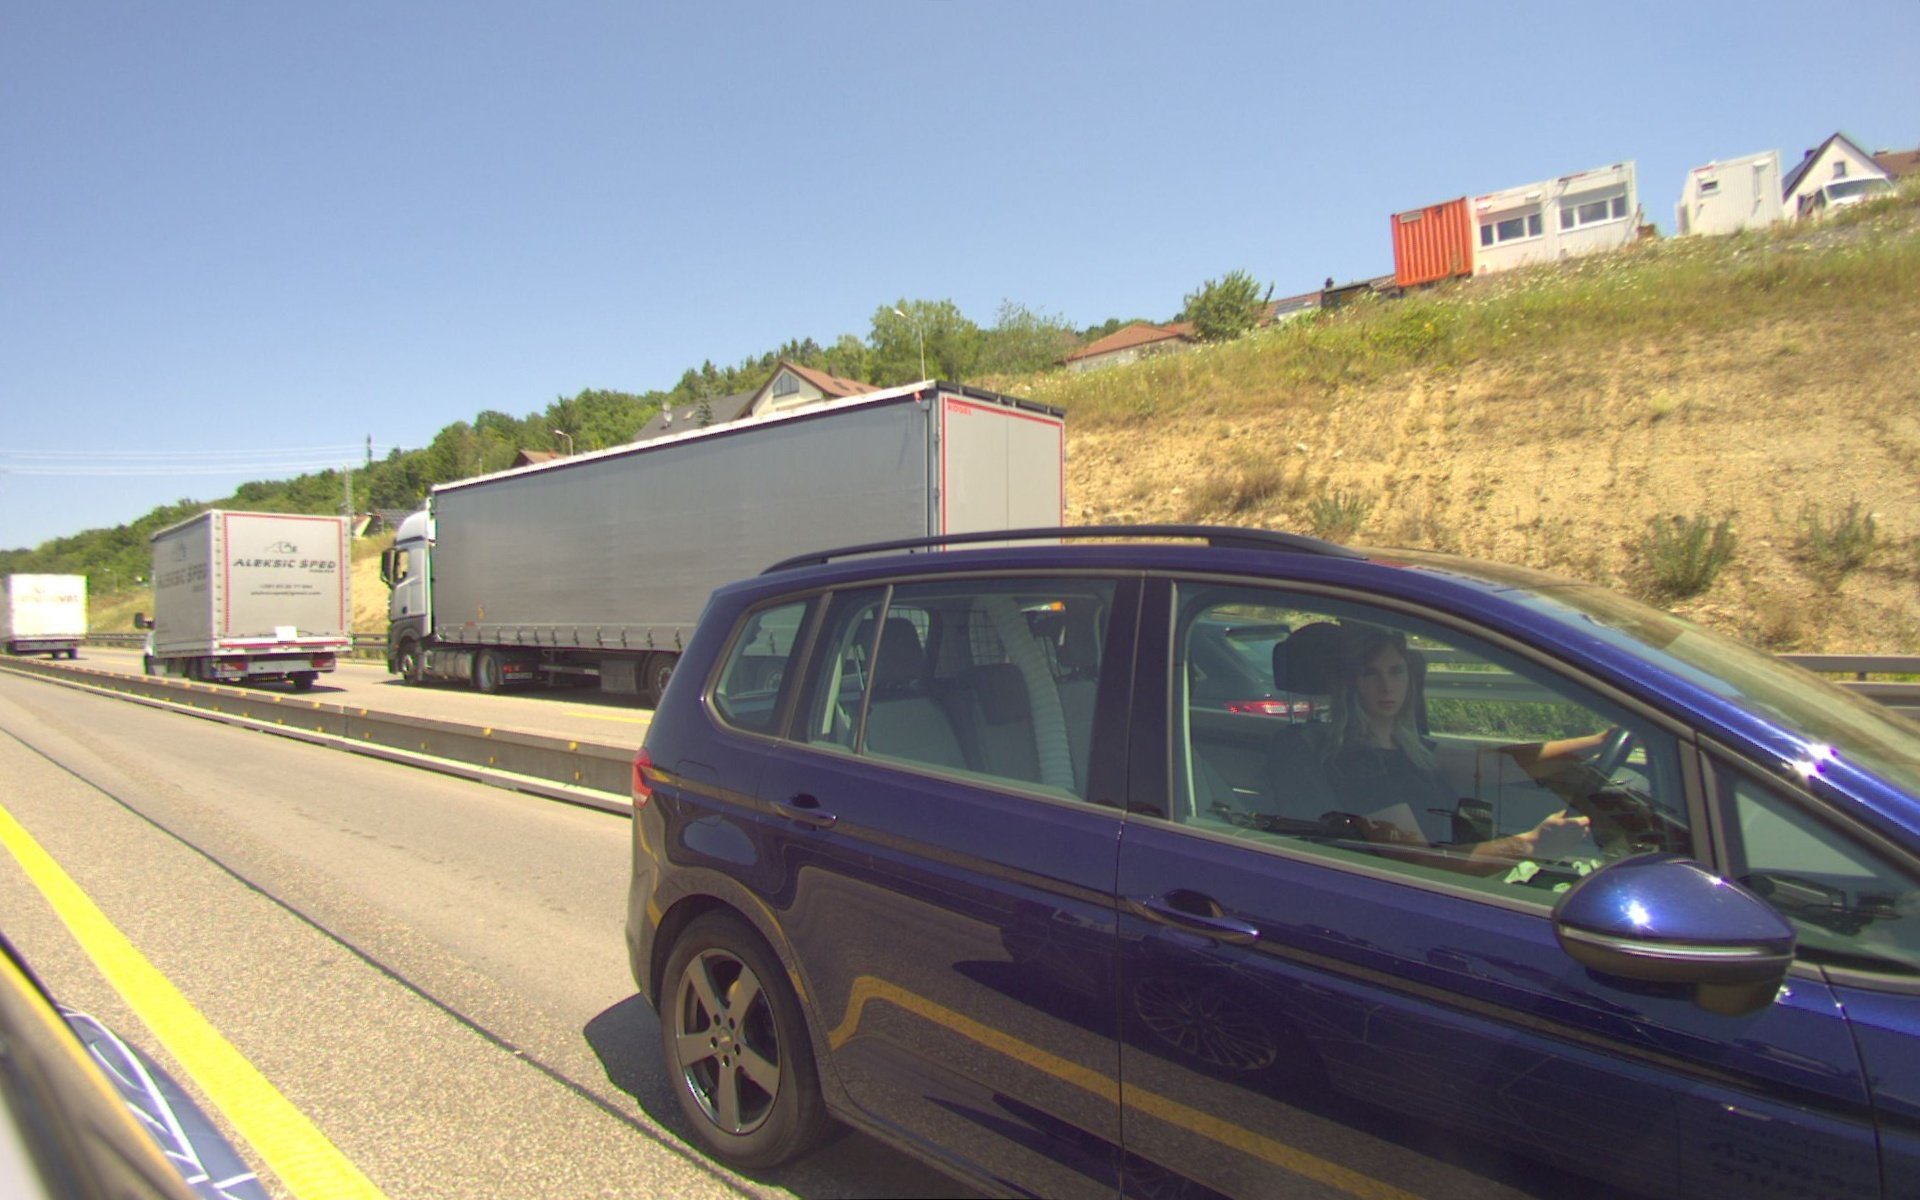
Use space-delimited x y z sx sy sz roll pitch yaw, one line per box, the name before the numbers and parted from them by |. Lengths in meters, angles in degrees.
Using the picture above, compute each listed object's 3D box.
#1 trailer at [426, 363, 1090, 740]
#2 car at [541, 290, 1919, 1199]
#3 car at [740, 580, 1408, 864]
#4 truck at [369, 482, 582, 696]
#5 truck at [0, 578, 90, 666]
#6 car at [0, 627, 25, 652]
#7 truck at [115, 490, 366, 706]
trailer | -4.415 -0.372 16.406 13.694 4.055 2.670 -2 -1 41
car | 1.041 0.555 2.256 4.650 1.731 1.757 -3 -2 41
car | 0.554 0.659 7.464 4.717 1.469 1.761 -1 0 41
truck | -10.370 -0.181 21.603 3.952 4.080 2.670 -2 -1 41
truck | -38.422 0.914 42.000 7.034 3.399 2.512 -2 -1 41
car | -67.425 2.820 71.229 4.665 1.684 1.835 -2 -1 41
truck | -15.173 0.034 21.091 7.354 3.787 2.563 -2 -1 41
